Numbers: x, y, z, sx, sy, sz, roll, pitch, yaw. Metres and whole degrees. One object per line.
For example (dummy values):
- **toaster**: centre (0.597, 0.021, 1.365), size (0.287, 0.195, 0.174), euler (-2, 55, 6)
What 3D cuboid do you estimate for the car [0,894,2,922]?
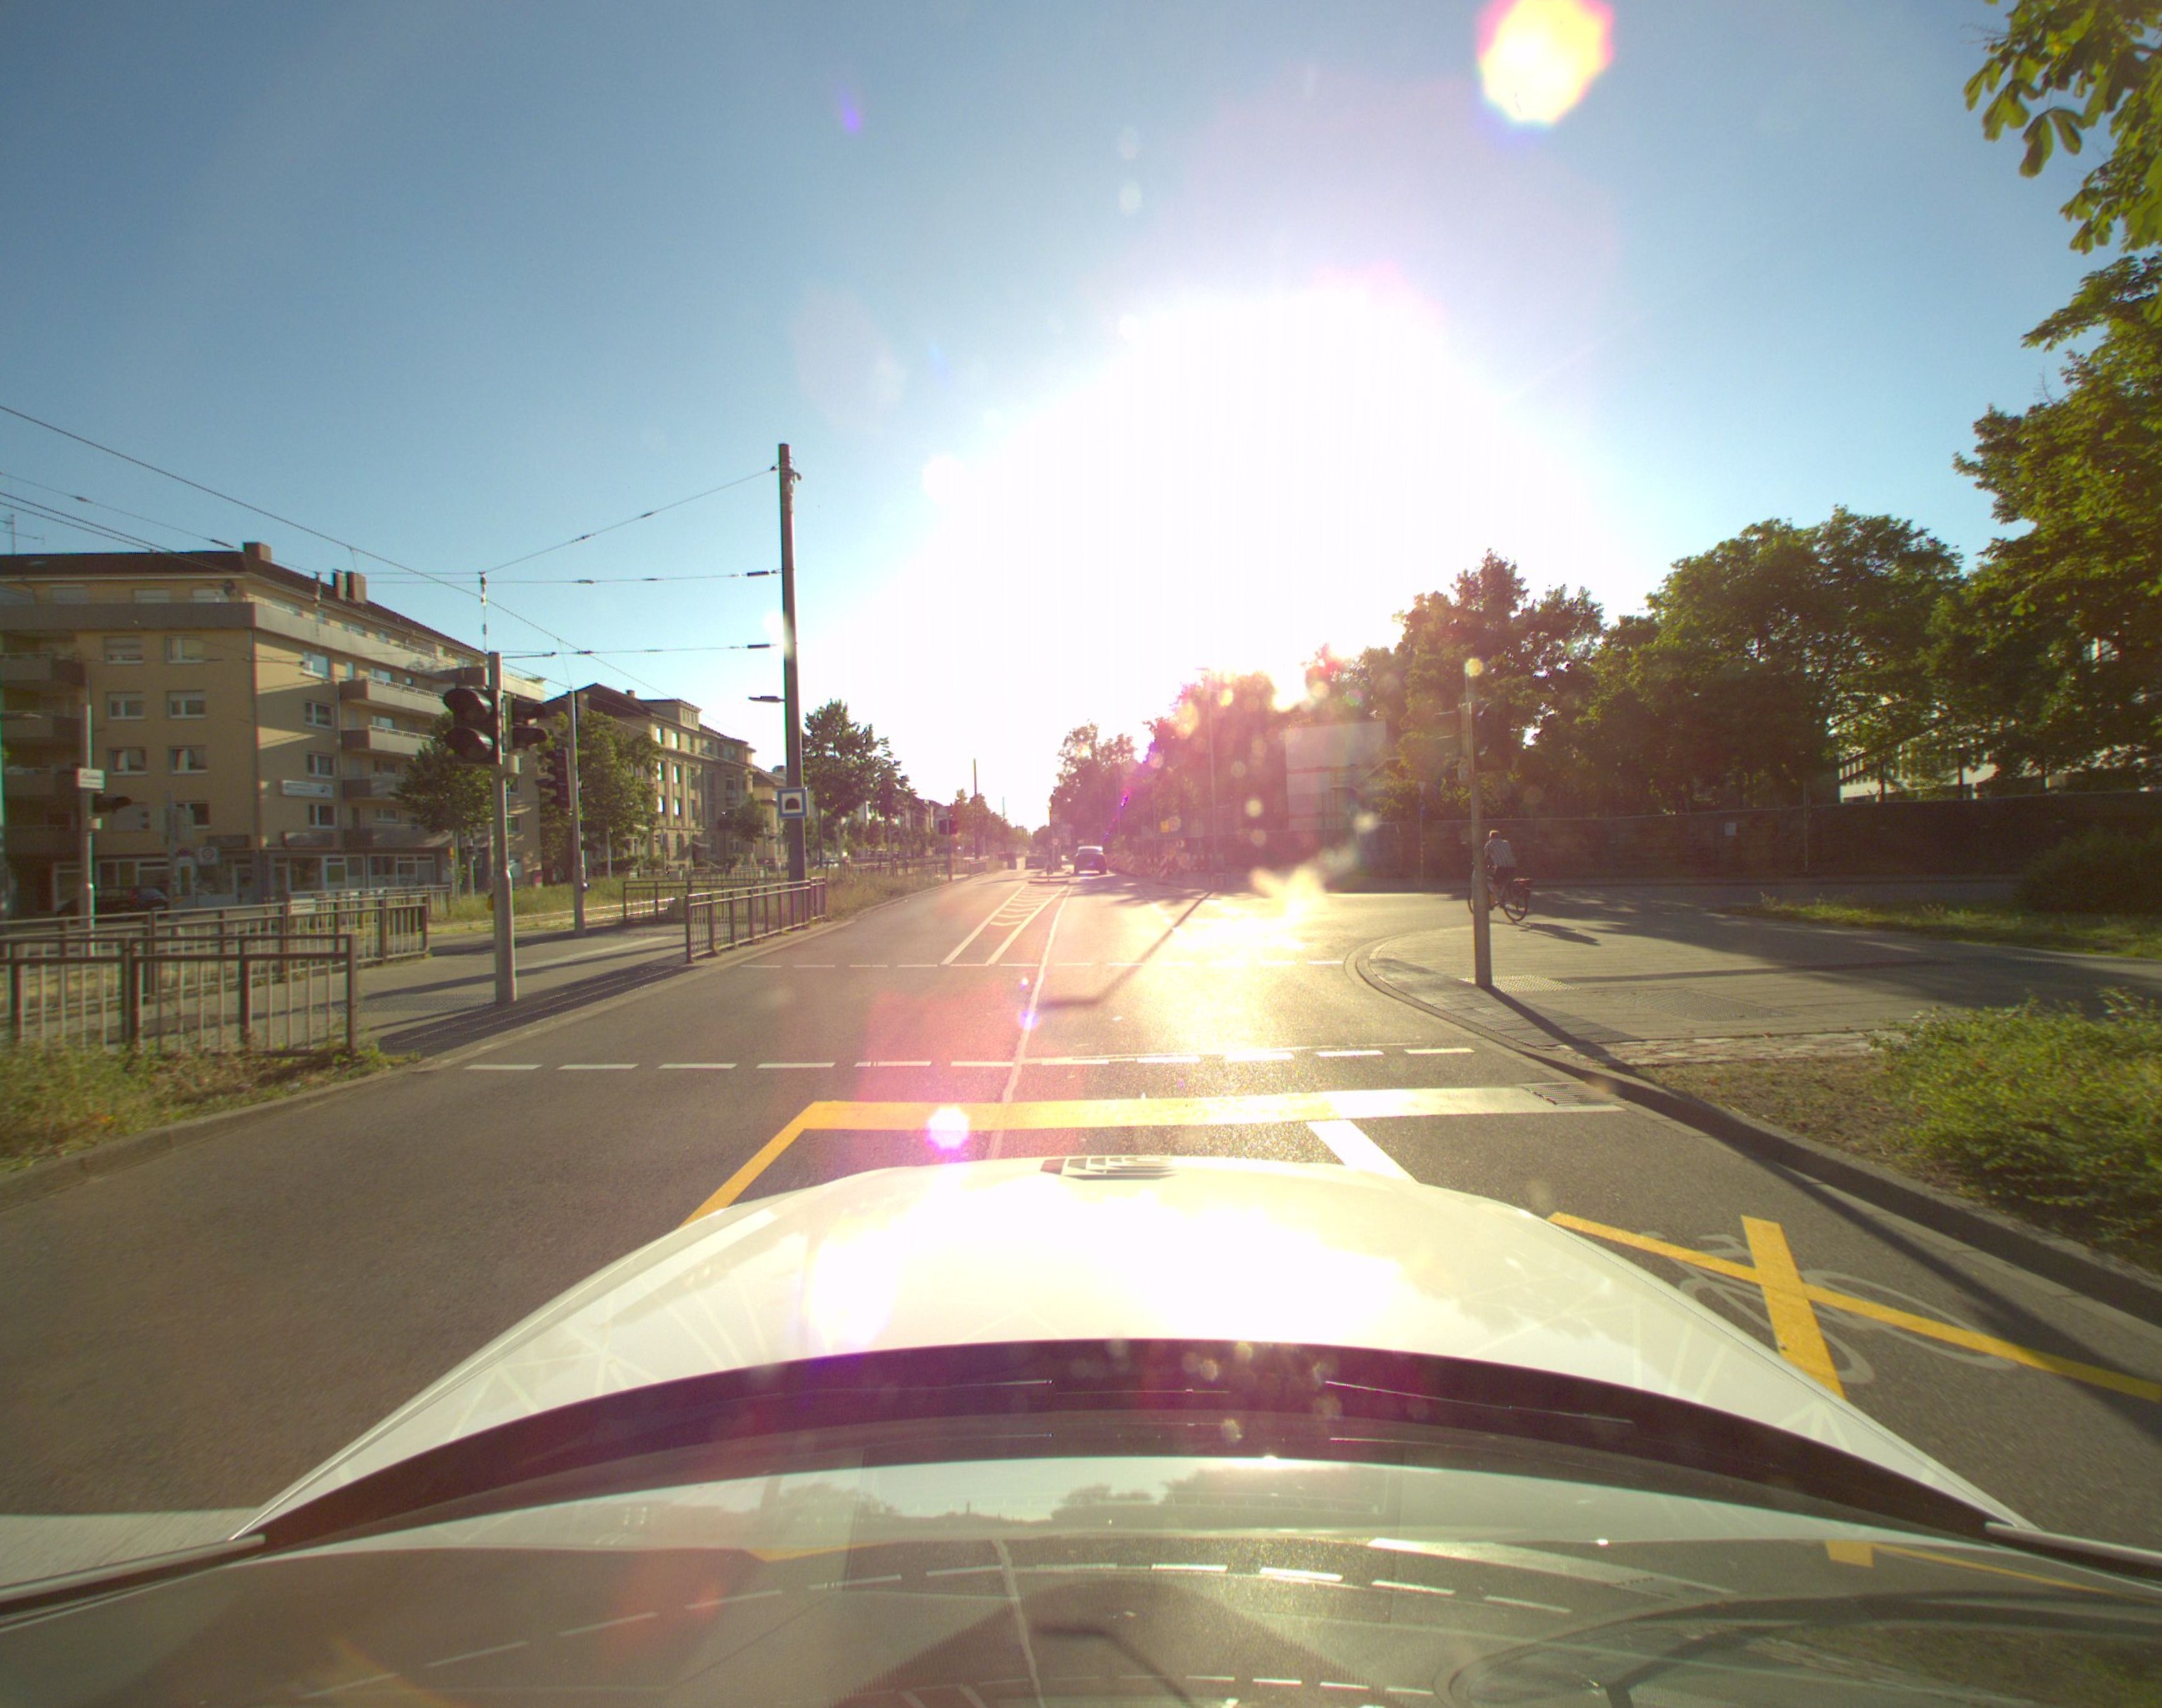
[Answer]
- **car**: centre (-52.203, 2.583, 36.823), size (3.977, 1.303, 1.998), euler (-2, 0, -2)

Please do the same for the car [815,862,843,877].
- **car**: centre (-27.277, 1.692, 88.259), size (1.772, 1.463, 4.657), euler (-2, 0, -3)

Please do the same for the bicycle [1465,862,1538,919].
- **bicycle**: centre (8.479, 0.701, 16.519), size (0.426, 1.061, 1.910), euler (-2, 0, -1)

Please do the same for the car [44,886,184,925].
- **car**: centre (-44.062, 2.323, 37.198), size (3.978, 1.496, 1.845), euler (-2, 0, -3)

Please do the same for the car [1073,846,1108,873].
- **car**: centre (0.543, 0.332, 50.618), size (2.000, 1.659, 3.997), euler (0, 0, -2)

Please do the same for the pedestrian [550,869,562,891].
- **pedestrian**: centre (-38.093, 1.910, 59.084), size (0.518, 1.555, 0.448), euler (-2, 0, -4)

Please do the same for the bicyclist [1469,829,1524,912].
- **bicyclist**: centre (8.411, 0.329, 16.509), size (0.582, 1.614, 0.902), euler (-2, 0, -2)

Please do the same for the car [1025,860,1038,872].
- **car**: centre (-7.045, 1.667, 115.966), size (1.822, 1.659, 3.997), euler (0, 0, -2)
